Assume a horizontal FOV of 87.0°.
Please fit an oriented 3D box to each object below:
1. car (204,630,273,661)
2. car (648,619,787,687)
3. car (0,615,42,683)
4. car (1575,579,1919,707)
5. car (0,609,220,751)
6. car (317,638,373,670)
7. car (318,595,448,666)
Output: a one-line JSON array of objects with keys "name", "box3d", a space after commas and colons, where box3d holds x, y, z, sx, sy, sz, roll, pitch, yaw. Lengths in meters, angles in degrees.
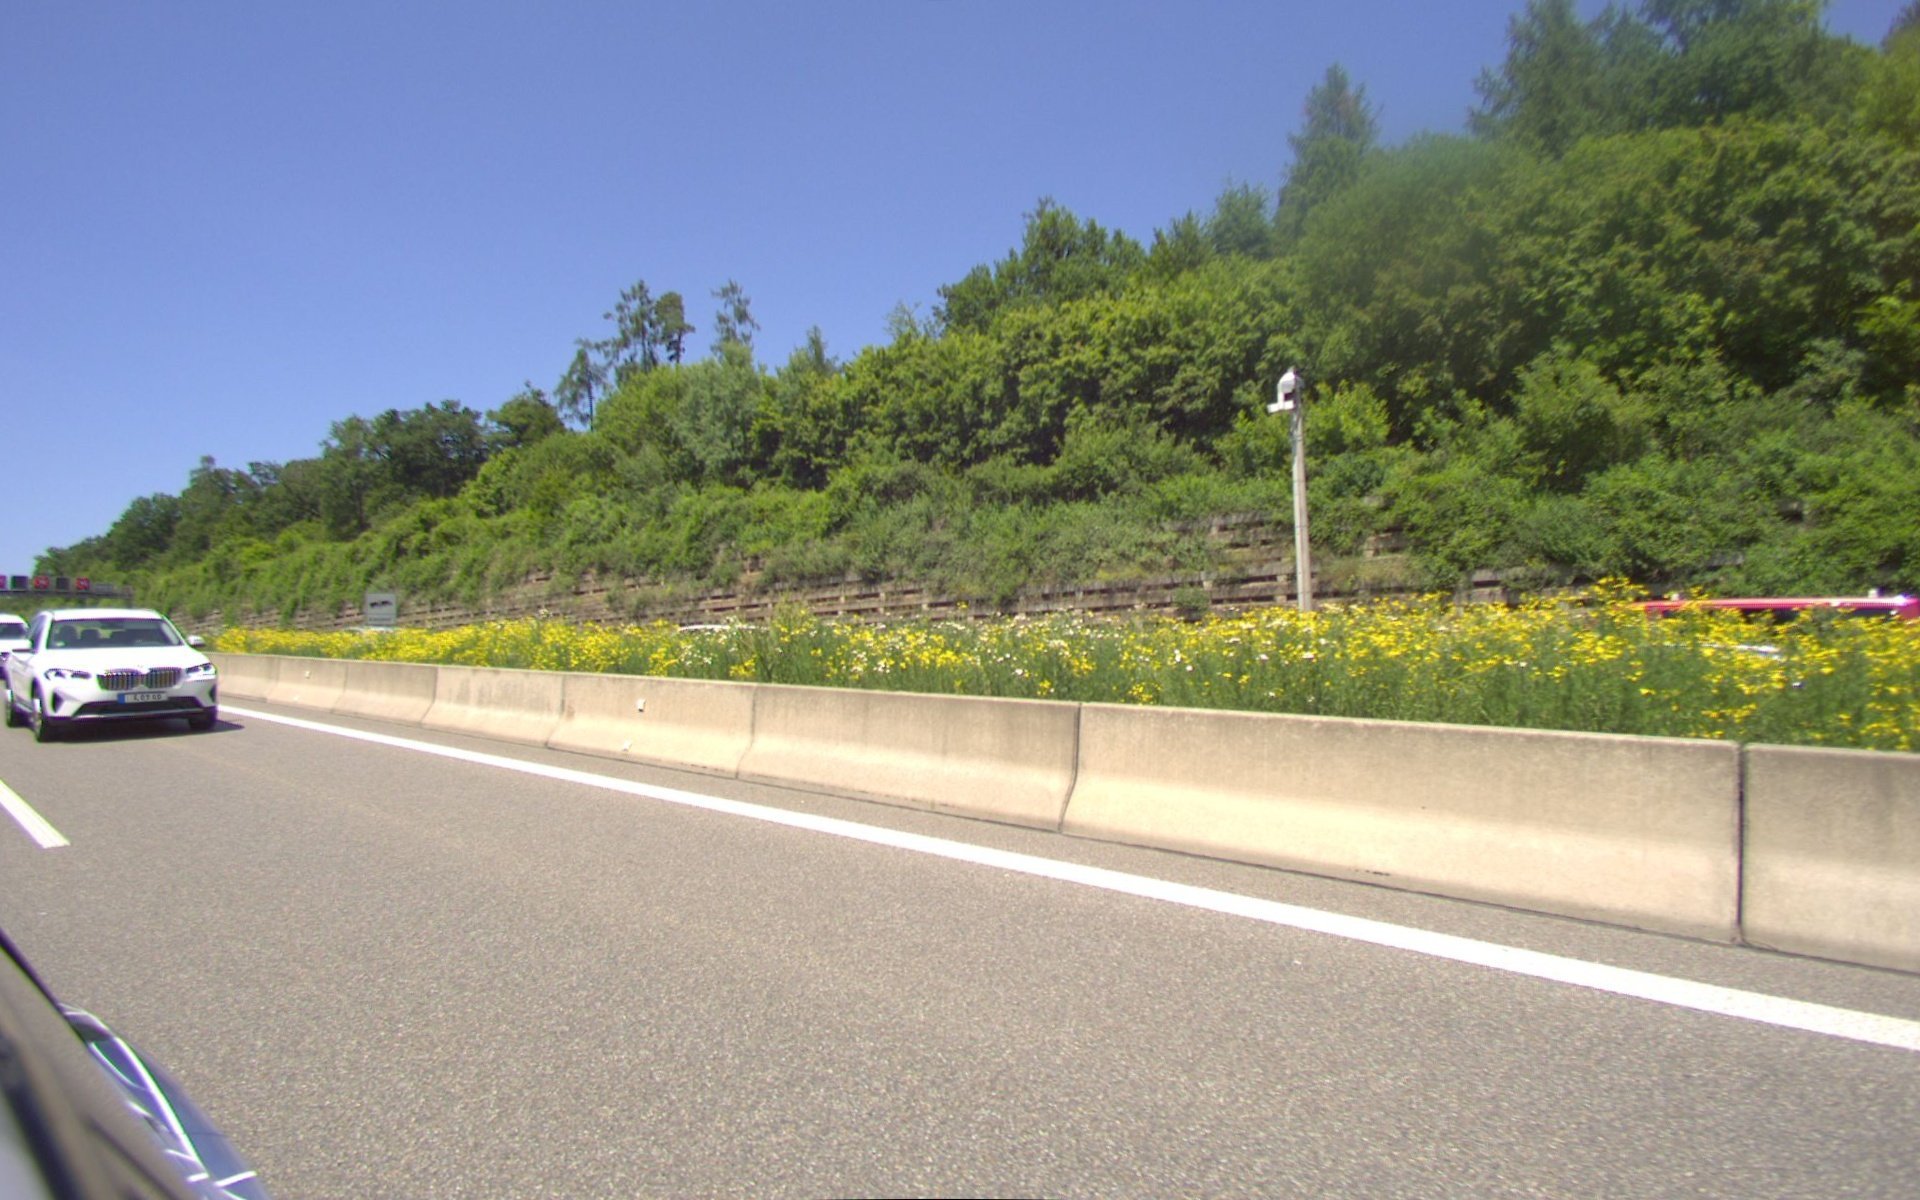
[{"name": "car", "box3d": [-37.013, 2.301, 51.862, 4.582, 1.533, 1.770, -2, -3, 40]}, {"name": "car", "box3d": [-7.272, 1.500, 30.082, 4.500, 1.821, 1.791, -1, 1, 42]}, {"name": "car", "box3d": [-27.510, 1.411, 28.533, 4.500, 1.788, 1.972, -3, -1, 42]}, {"name": "car", "box3d": [12.958, 0.624, 16.573, 4.654, 1.821, 1.972, -1, 1, 42]}, {"name": "car", "box3d": [-11.986, 0.997, 14.051, 4.365, 1.656, 1.826, -2, -1, 41]}, {"name": "car", "box3d": [-30.578, 2.651, 50.286, 3.151, 1.533, 1.424, -2, -3, 40]}, {"name": "car", "box3d": [-16.443, 0.877, 28.741, 4.500, 1.821, 1.871, -3, -1, 42]}]
